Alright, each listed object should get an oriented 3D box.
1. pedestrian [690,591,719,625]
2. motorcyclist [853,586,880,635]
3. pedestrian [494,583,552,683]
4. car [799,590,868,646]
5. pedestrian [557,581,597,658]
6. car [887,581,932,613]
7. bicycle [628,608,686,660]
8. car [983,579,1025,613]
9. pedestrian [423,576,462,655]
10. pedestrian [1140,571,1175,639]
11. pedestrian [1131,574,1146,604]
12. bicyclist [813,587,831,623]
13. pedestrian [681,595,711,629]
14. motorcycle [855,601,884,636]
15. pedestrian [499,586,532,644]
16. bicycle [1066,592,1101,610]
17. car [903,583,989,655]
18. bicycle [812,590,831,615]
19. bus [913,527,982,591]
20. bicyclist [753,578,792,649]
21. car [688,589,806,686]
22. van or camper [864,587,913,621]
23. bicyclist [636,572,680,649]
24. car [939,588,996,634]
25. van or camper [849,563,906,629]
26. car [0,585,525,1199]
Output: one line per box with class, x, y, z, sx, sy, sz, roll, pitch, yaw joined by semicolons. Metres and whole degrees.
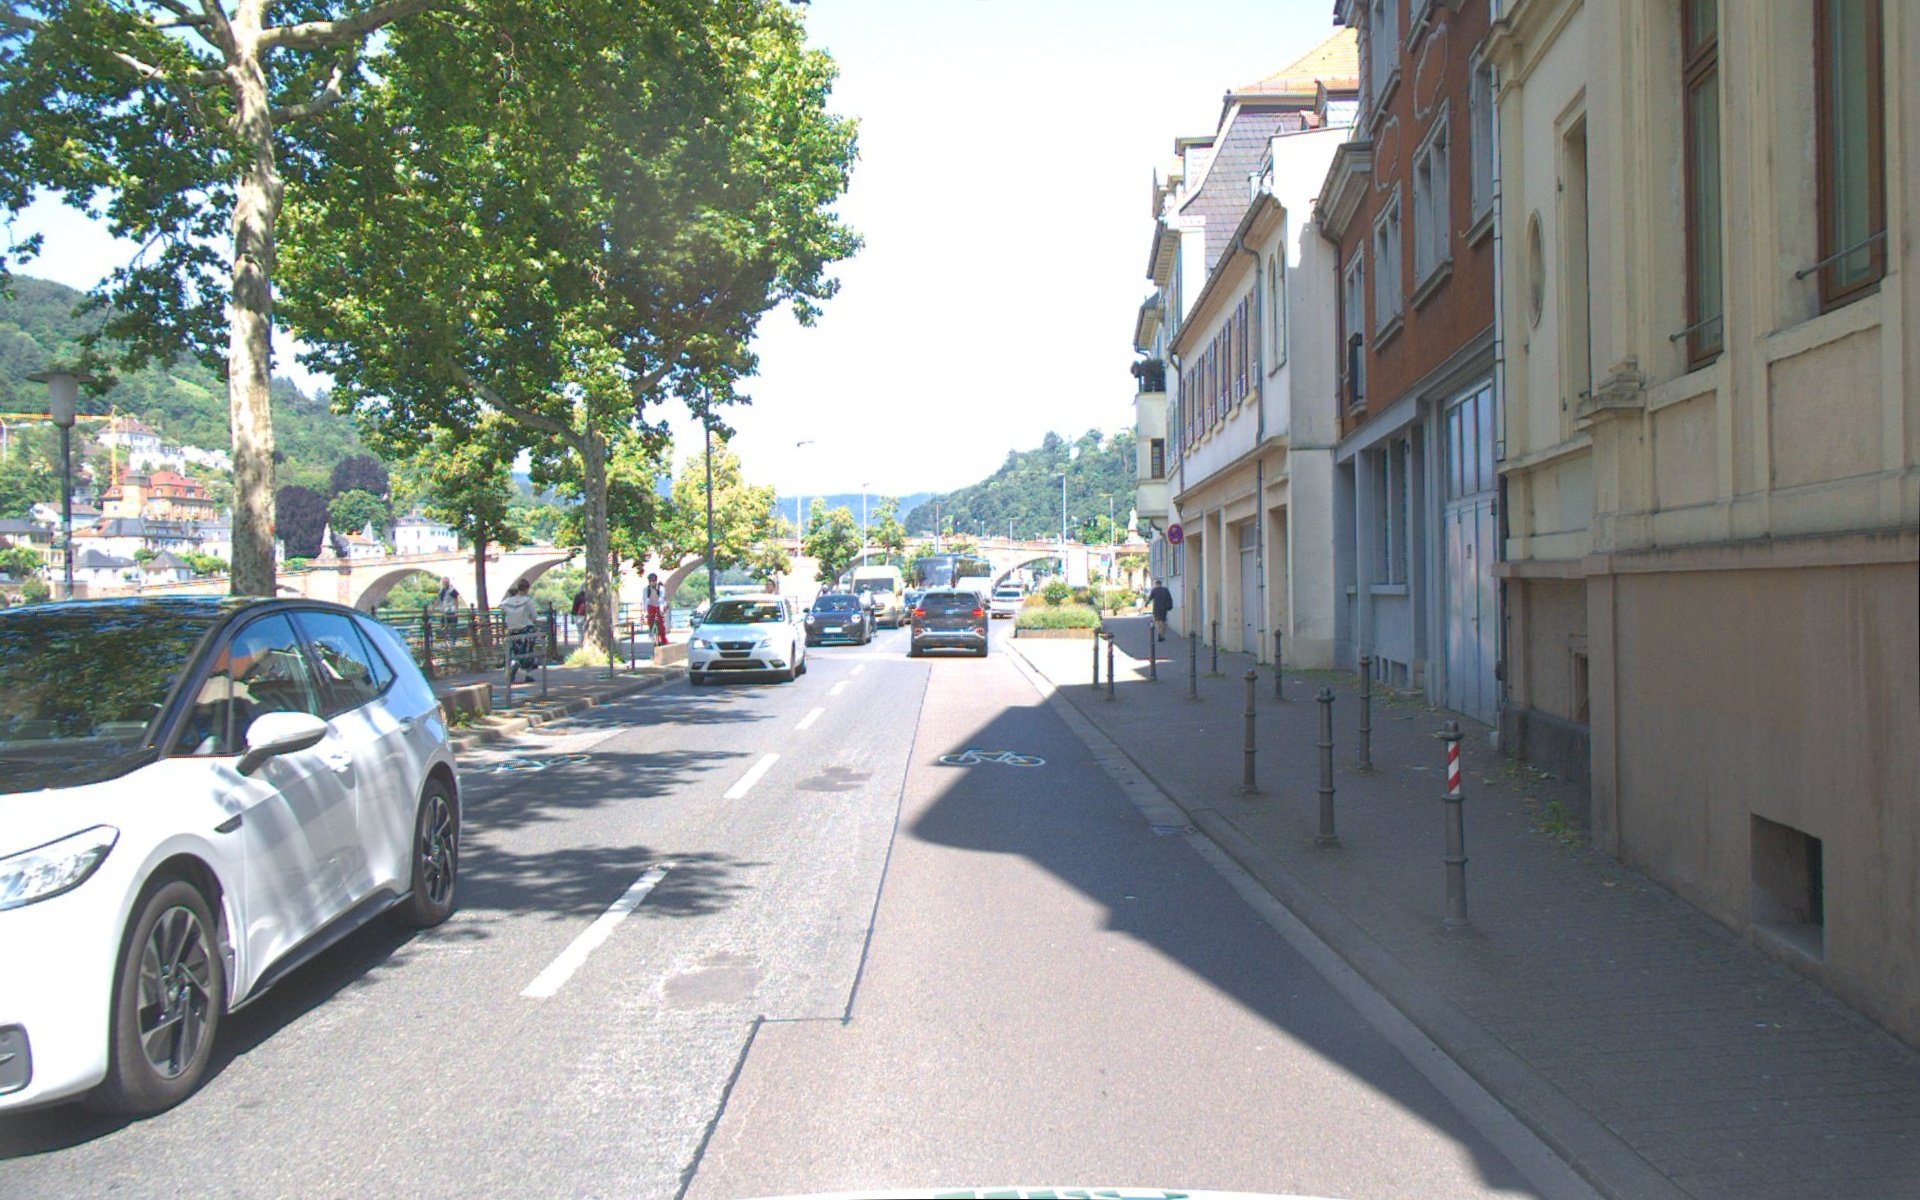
pedestrian;-10.117;0.316;65.580;0.916;1.303;0.850;-1;0;8
motorcyclist;-3.146;0.343;55.770;0.861;1.611;1.024;-1;0;-2
pedestrian;-7.203;0.530;27.273;0.746;1.614;0.695;-1;0;-2
car;-3.598;0.486;47.453;1.666;1.483;4.001;-2;0;-1
pedestrian;-8.695;0.437;37.540;0.642;1.712;0.759;1;0;4
car;-2.580;-0.179;85.051;1.775;1.453;4.313;-3;1;4
bicycle;-6.435;0.709;35.211;0.739;0.996;1.954;-1;1;3
car;2.265;-0.234;83.324;1.886;1.580;4.834;-2;1;4
pedestrian;-13.257;0.390;42.383;0.679;1.979;0.886;-1;0;-2
pedestrian;5.286;0.131;44.304;0.746;1.743;0.696;-4;0;2
pedestrian;9.545;-0.582;88.579;0.745;1.623;0.696;-1;0;7
bicyclist;-6.789;0.237;81.333;0.725;1.696;1.089;-1;1;1
pedestrian;-10.326;0.481;64.686;0.916;1.303;0.850;-1;0;8
motorcycle;-3.063;0.612;55.727;0.866;1.096;2.326;-2;0;-5
pedestrian;-12.872;0.434;47.901;0.679;1.644;0.664;-1;0;6
bicycle;6.366;0.030;85.102;1.772;0.893;0.502;1;1;3
car;-0.312;0.429;38.717;1.887;1.580;4.831;0;0;0
bicycle;-6.793;0.097;81.232;0.696;1.189;1.896;-1;1;2
bus;-0.657;-2.433;103.258;2.575;3.626;12.992;-1;0;7
bicyclist;-4.275;0.294;37.823;0.751;1.558;1.025;0;2;1
car;-3.627;0.585;28.770;1.667;1.470;4.090;0;2;-2
van or camper;-3.328;0.171;78.072;1.952;1.480;4.683;-1;0;1
bicyclist;-6.439;0.222;35.293;0.704;1.611;1.089;-1;0;1
car;0.290;0.354;57.937;1.887;1.486;4.833;-1;1;1
van or camper;-3.440;-0.177;70.144;2.044;2.601;7.092;-1;0;0
car;-3.109;0.763;6.224;1.700;1.544;4.405;-2;0;0
